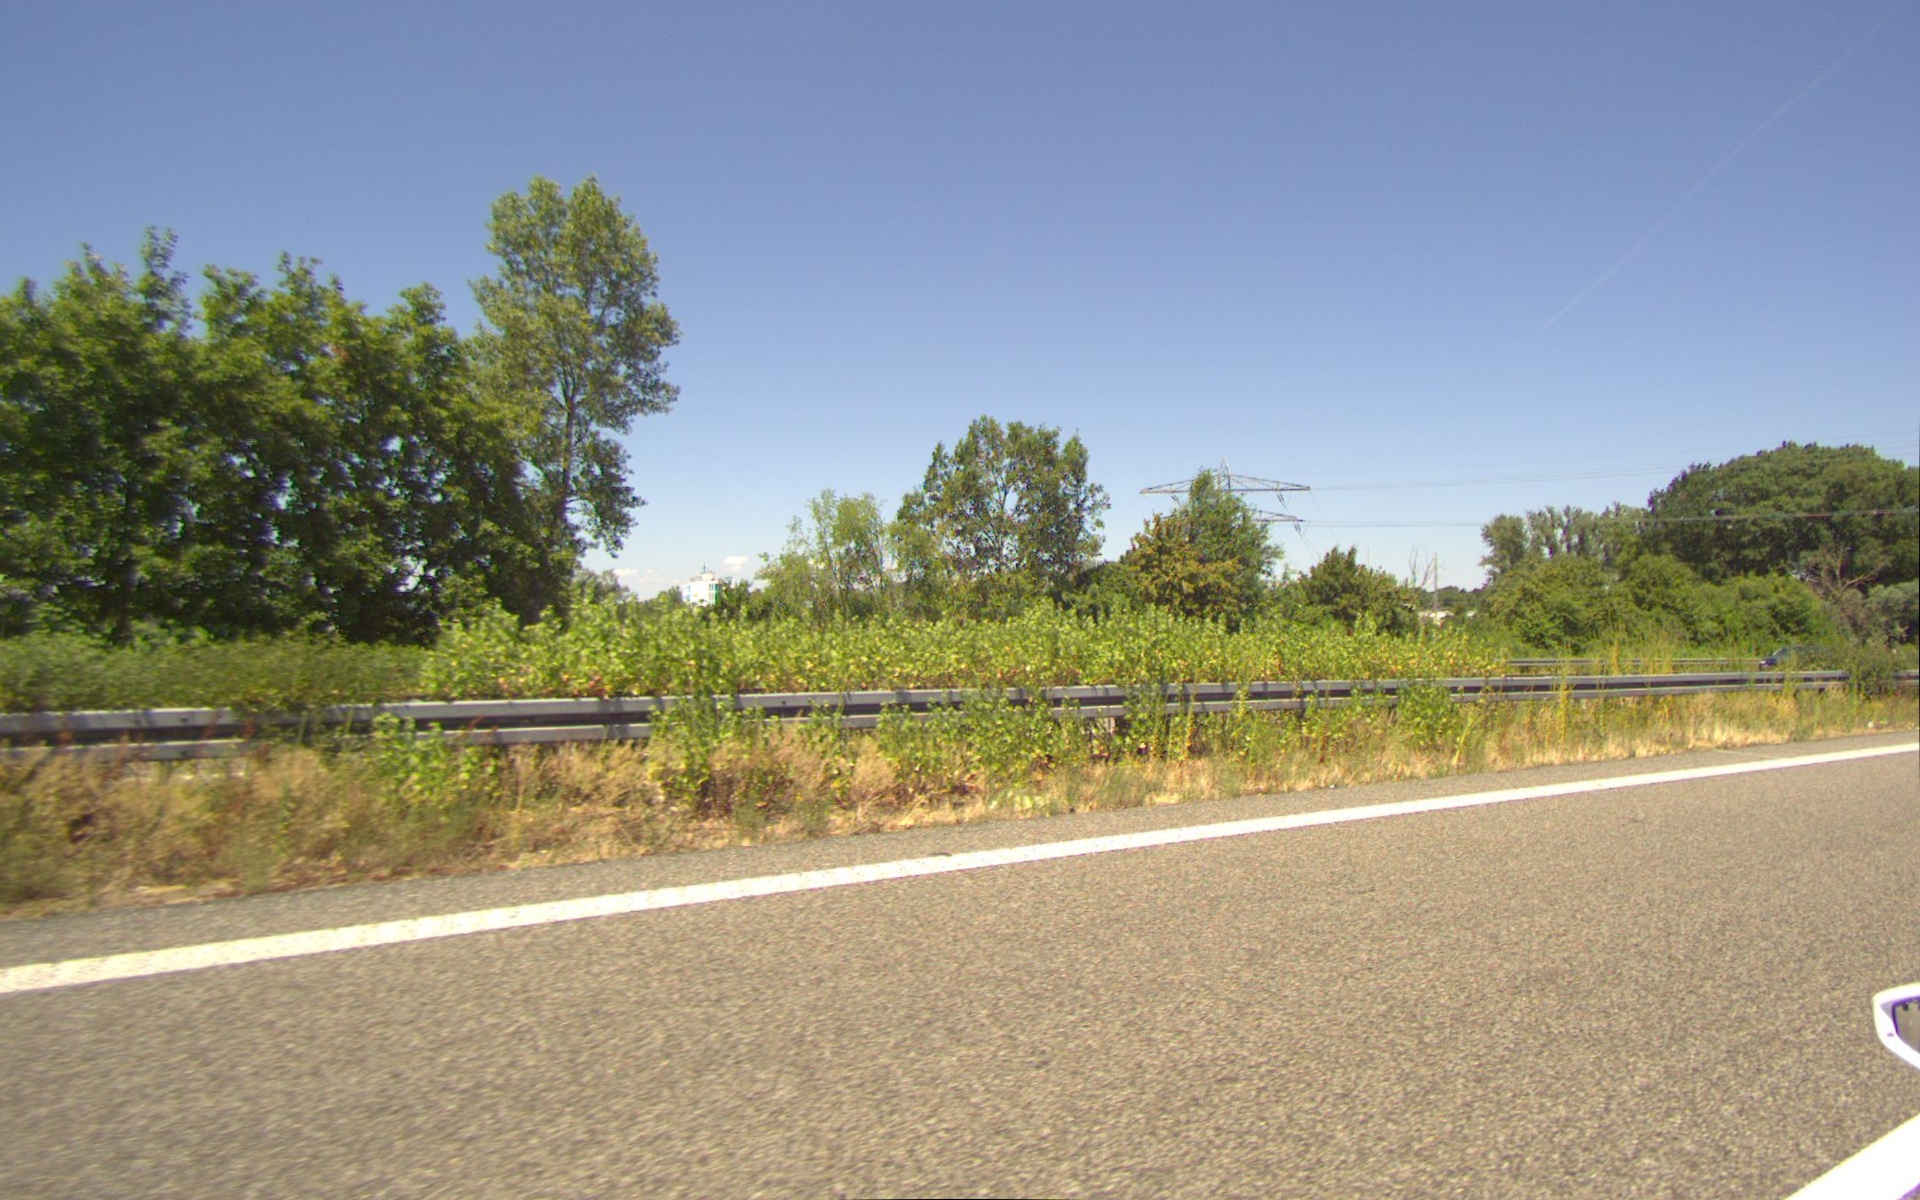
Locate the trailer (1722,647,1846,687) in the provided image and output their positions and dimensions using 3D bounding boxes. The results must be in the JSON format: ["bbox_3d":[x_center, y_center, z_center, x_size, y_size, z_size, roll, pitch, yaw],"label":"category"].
[{"bbox_3d":[38.727,3.091,47.183,6.415,1.706,2.477,2,-1,-31],"label":"trailer"}]
